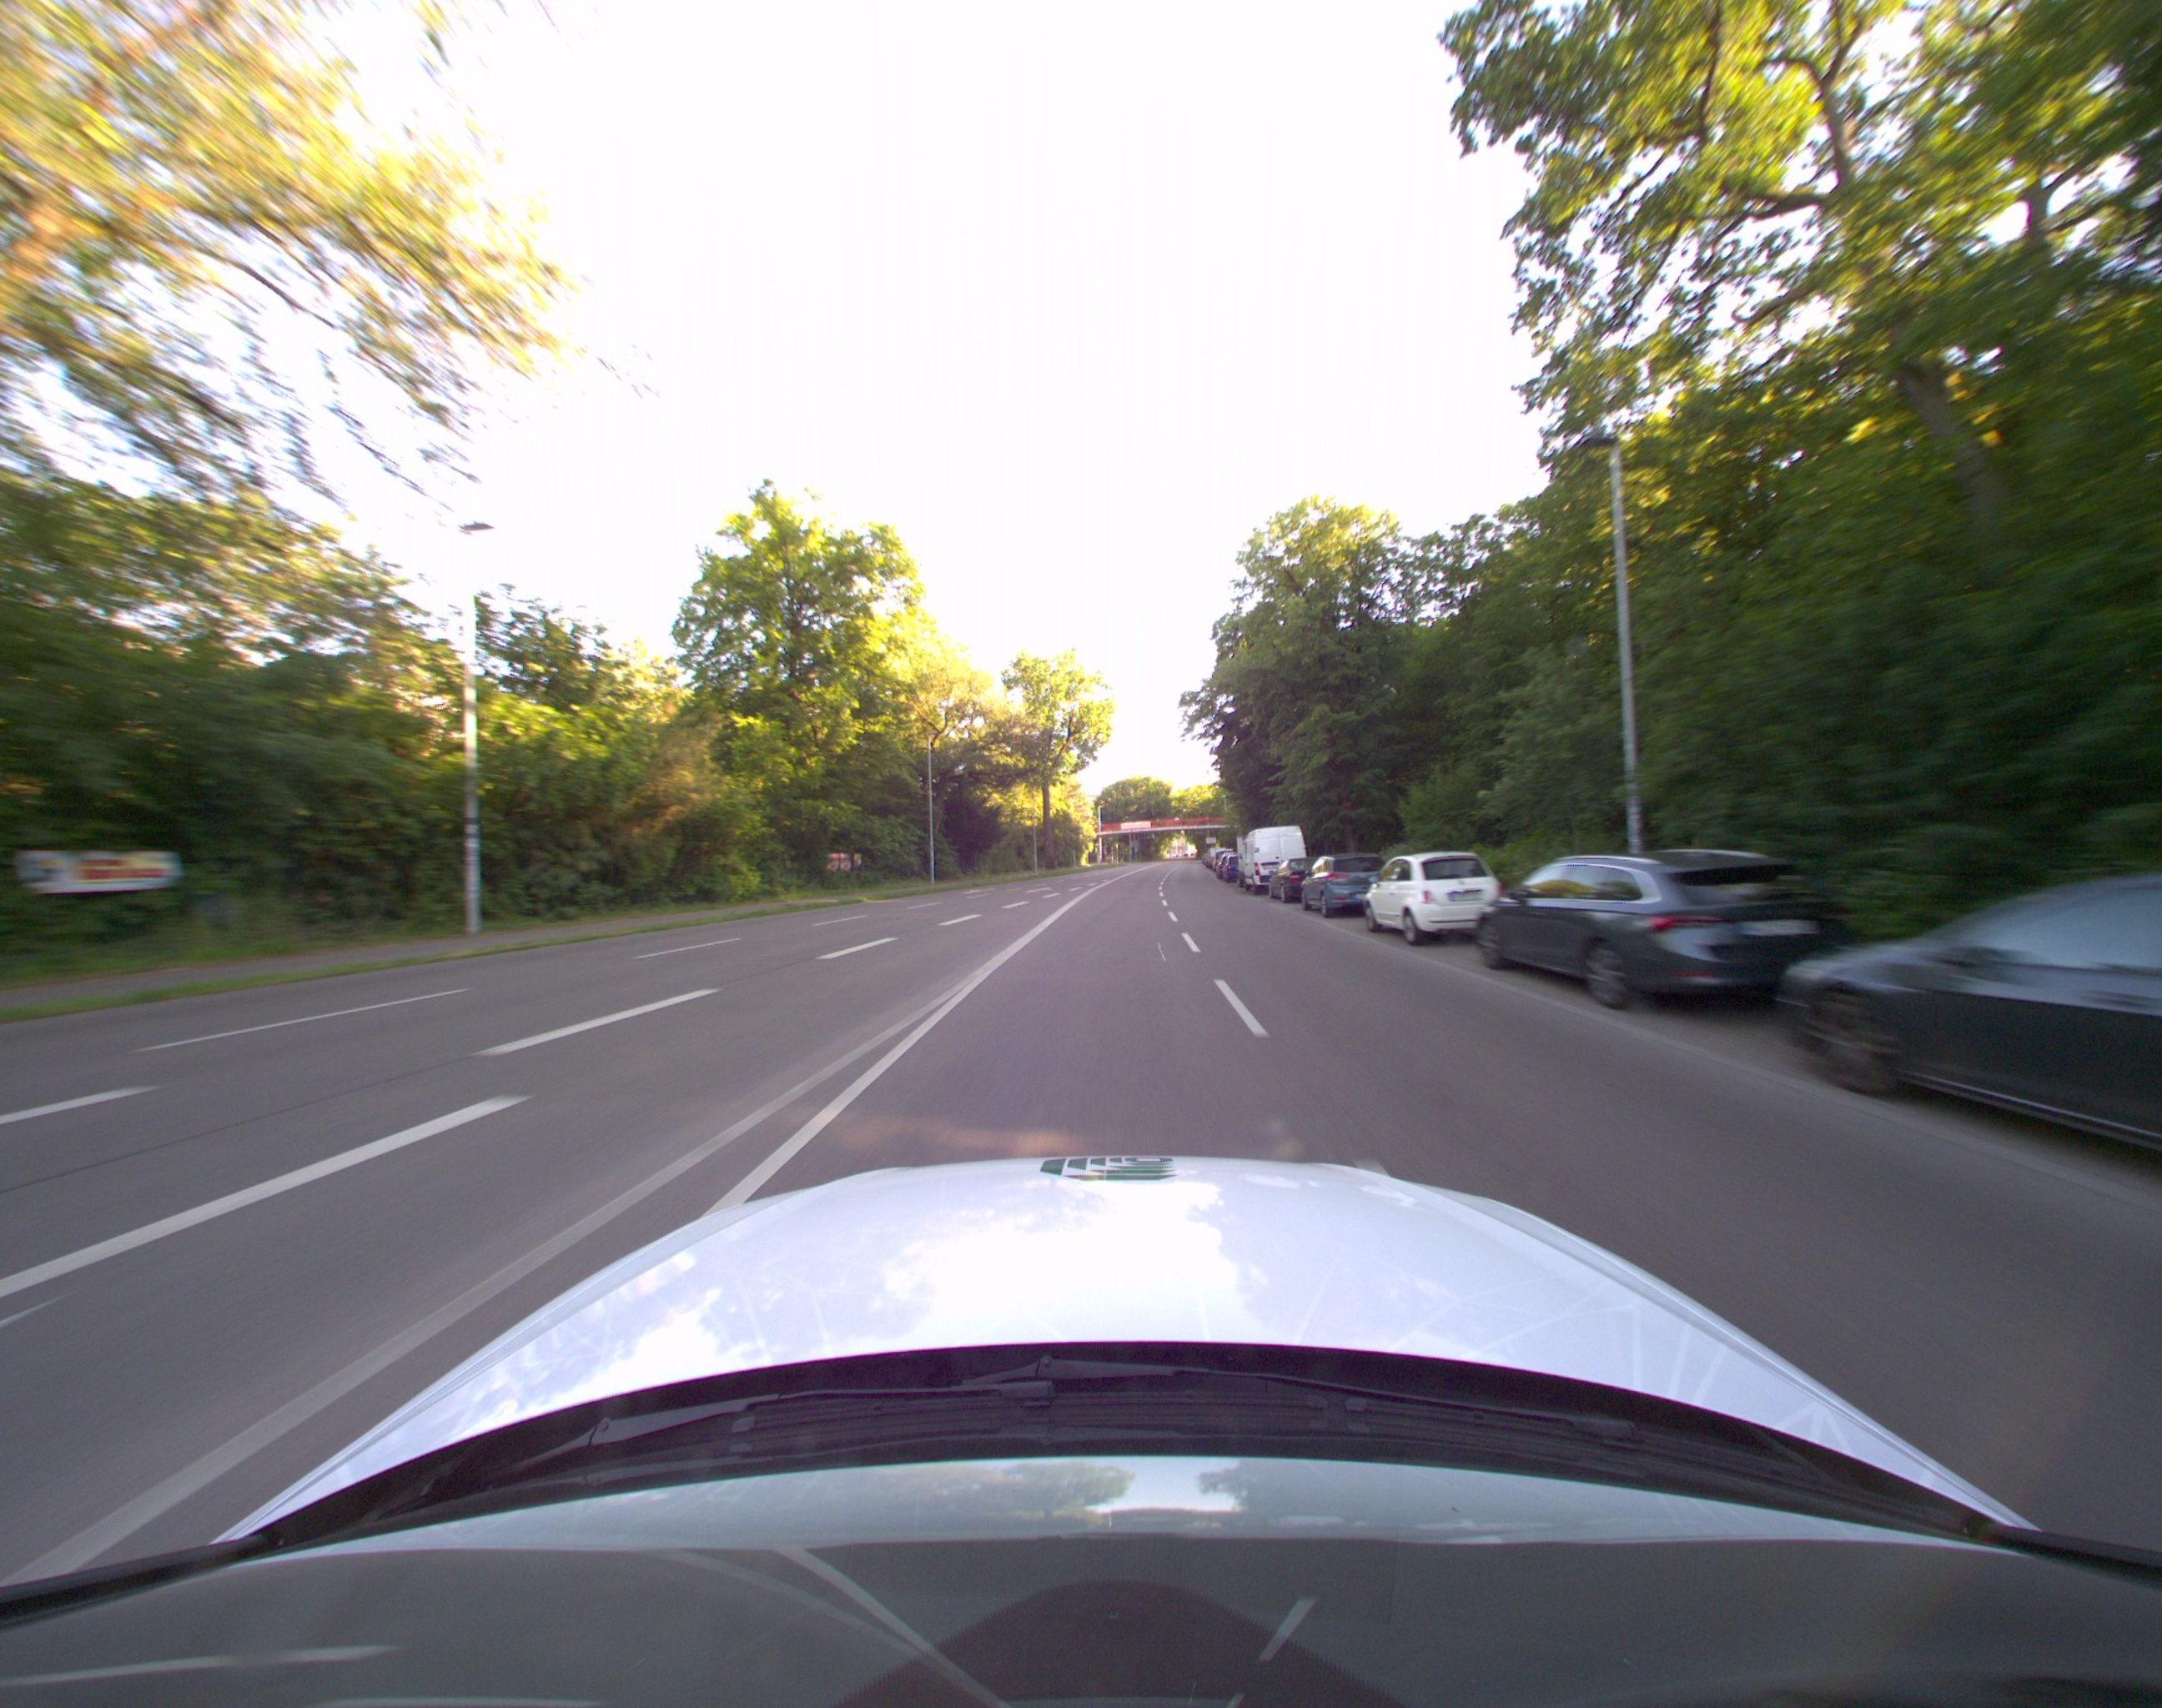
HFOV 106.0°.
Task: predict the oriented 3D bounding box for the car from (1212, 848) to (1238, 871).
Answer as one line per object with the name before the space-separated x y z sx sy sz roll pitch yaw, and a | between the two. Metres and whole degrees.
car | 11.862 0.457 67.402 1.750 1.804 4.746 -2 -1 6

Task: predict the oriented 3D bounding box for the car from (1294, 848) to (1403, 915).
car | 6.609 0.654 20.533 1.669 1.464 4.072 -2 -1 5

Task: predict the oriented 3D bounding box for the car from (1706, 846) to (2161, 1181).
car | 5.518 0.680 3.899 1.711 1.411 4.490 -2 -1 3

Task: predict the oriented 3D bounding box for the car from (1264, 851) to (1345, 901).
car | 7.082 0.680 26.268 1.669 1.400 4.656 -2 -1 5

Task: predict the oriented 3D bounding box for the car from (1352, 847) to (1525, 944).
car | 6.269 0.679 14.731 1.670 1.464 3.693 -2 -1 4

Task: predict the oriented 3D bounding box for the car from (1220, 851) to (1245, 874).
car | 10.705 0.617 57.601 1.576 1.495 3.188 -2 -1 9

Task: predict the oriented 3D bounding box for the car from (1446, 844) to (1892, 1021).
car | 5.955 0.676 9.199 1.710 1.411 4.912 -2 -1 4

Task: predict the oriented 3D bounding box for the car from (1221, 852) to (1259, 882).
car | 8.792 0.692 45.263 1.669 1.535 4.361 -2 -1 6

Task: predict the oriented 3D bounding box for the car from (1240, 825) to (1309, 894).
car | 7.549 0.220 32.334 1.894 2.423 5.585 -2 -1 6

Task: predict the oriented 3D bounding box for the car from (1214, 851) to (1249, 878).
car | 9.382 0.671 51.013 1.750 1.535 4.998 -2 -1 6

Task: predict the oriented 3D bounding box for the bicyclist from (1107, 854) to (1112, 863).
bicyclist | 4.973 0.802 141.204 0.708 1.559 1.145 0 -1 7

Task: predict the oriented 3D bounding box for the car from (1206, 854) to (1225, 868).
car | 14.239 0.728 86.537 1.858 1.406 4.379 -2 -1 8

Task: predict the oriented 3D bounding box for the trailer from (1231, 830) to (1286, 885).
trailer | 8.412 0.181 39.011 1.894 2.423 5.135 -2 -1 6

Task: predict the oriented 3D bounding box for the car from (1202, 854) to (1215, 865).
car | 18.771 0.823 119.728 1.764 1.454 4.398 -2 -1 9

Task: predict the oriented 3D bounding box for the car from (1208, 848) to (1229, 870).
car | 13.496 0.504 79.975 1.858 1.981 5.487 -2 -1 8
